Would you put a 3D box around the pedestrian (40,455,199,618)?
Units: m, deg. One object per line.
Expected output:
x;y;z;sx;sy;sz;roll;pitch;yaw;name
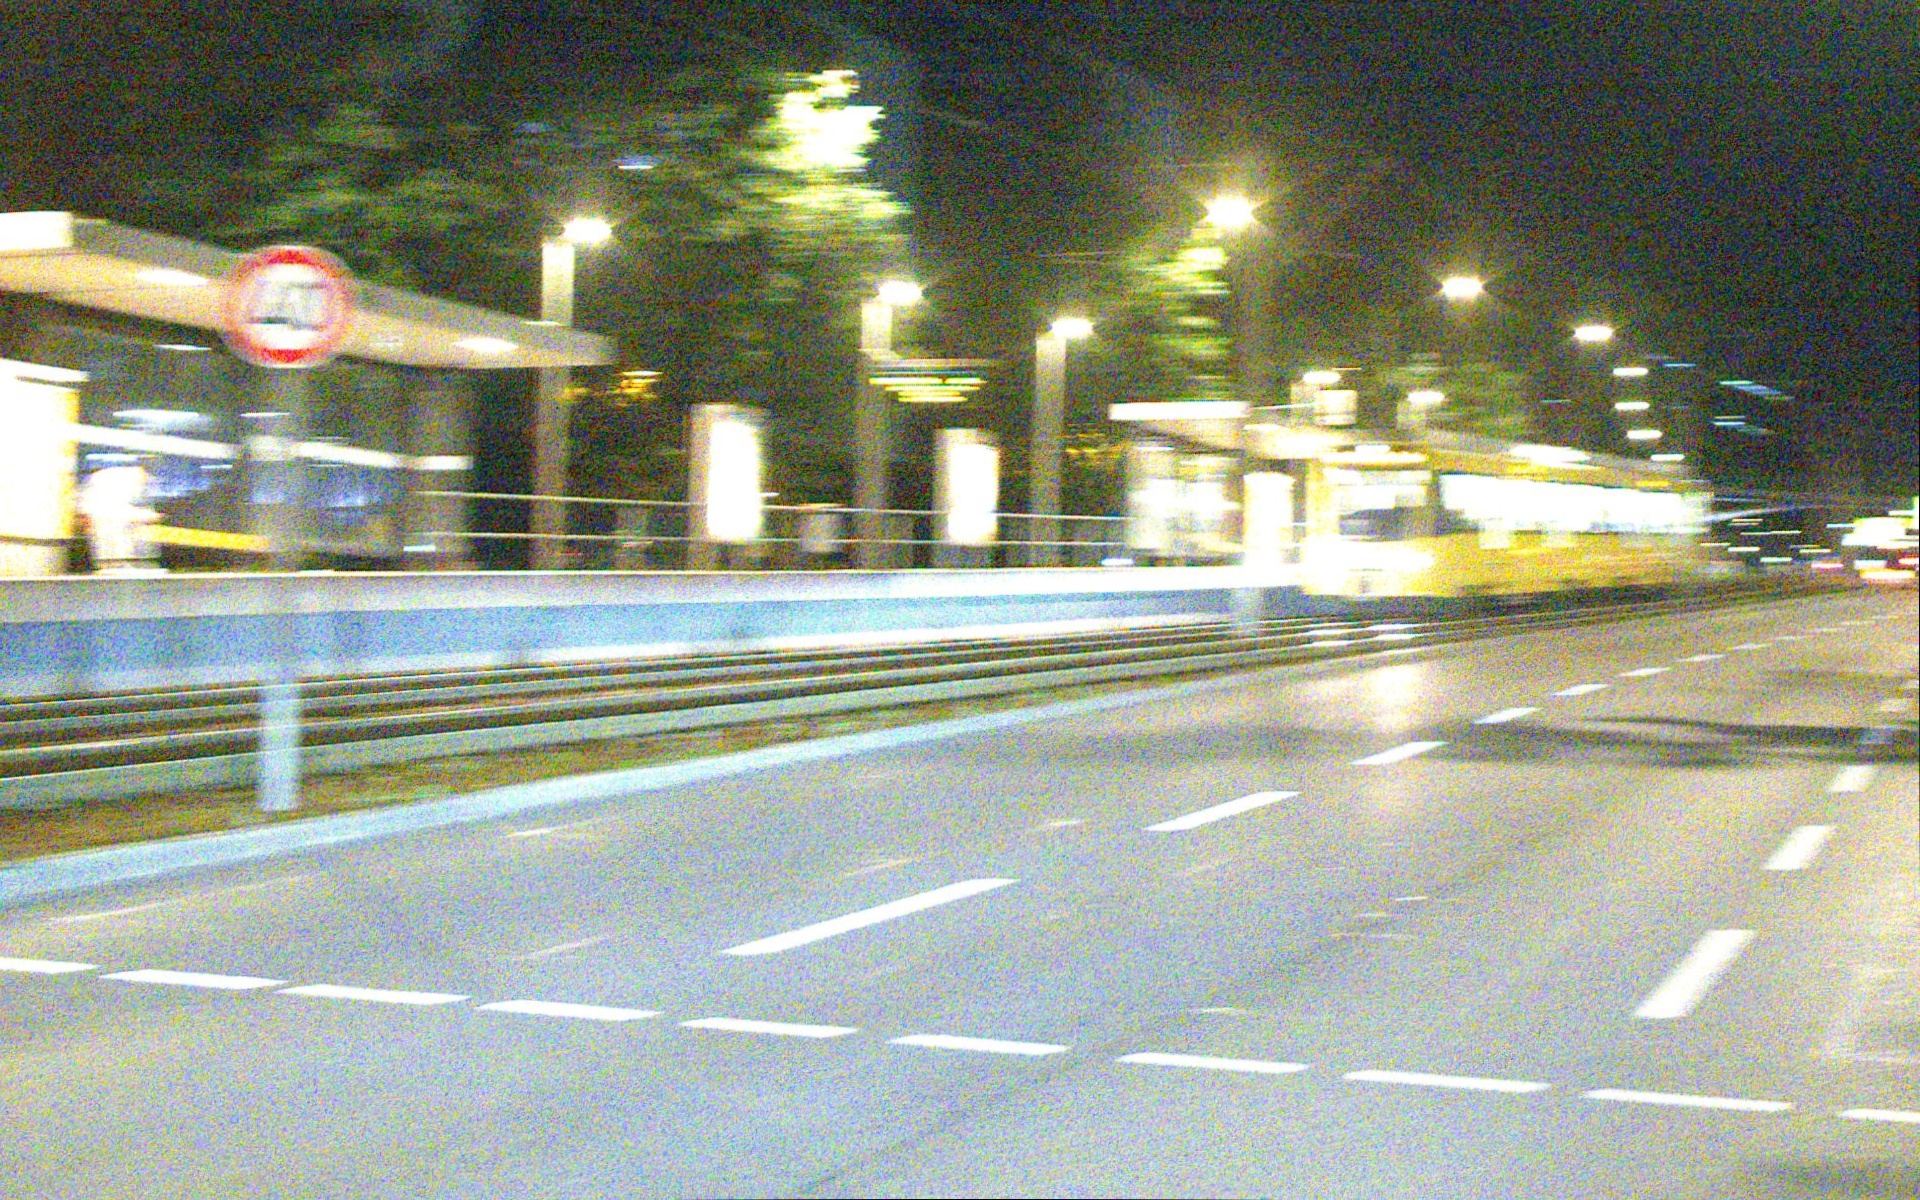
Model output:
-7.924;-0.590;32.387;1.142;1.495;1.077;-1;0;-34;pedestrian

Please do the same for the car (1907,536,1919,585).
34.060;-1.333;119.477;1.860;1.654;4.456;3;1;19;car
